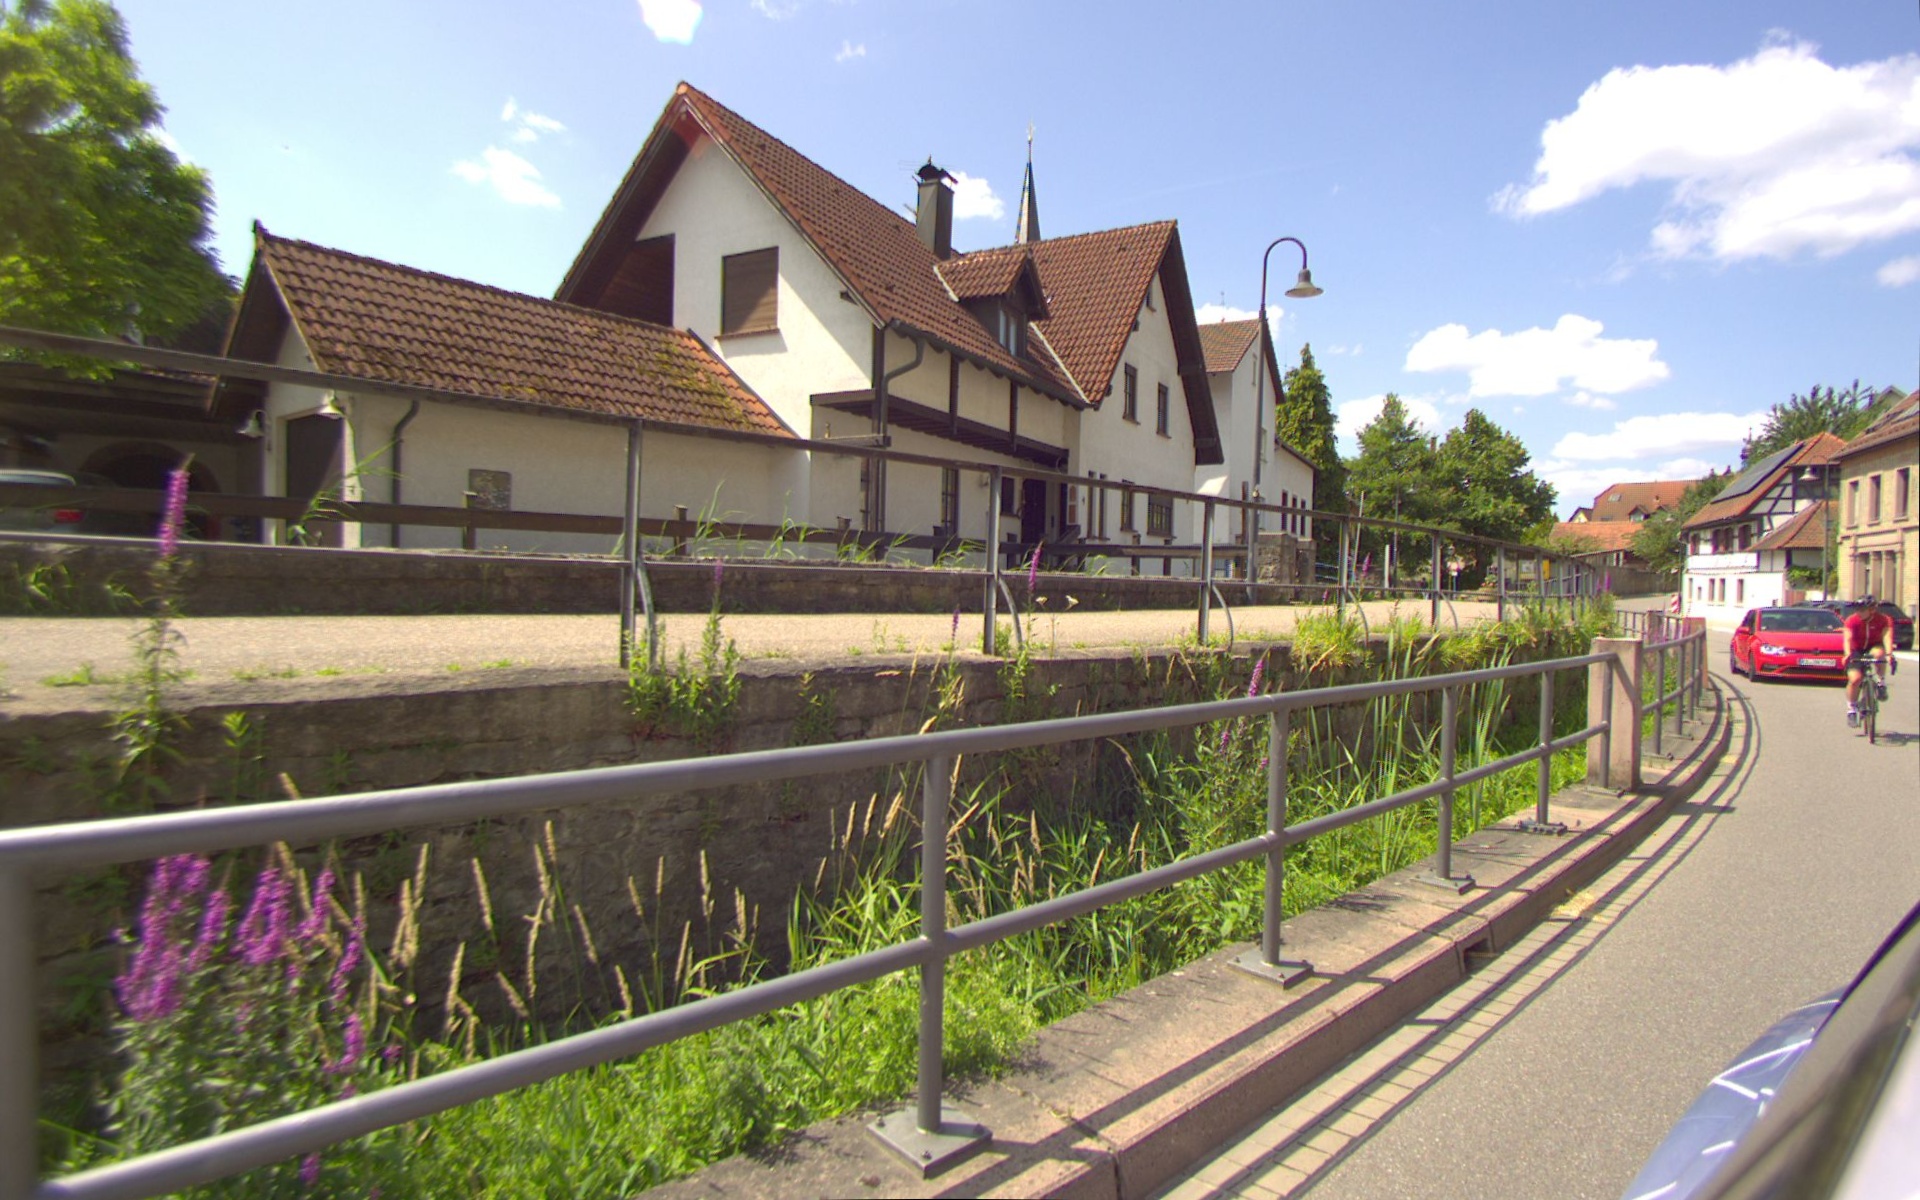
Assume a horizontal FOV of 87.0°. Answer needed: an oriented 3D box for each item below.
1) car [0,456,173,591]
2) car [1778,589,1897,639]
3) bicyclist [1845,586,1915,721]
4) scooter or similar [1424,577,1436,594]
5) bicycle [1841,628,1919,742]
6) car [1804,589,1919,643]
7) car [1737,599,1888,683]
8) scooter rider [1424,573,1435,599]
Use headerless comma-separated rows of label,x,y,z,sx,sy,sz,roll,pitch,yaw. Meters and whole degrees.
car,-11.797,-0.916,13.133,1.721,1.545,3.522,1,1,-25
car,29.677,0.428,34.402,1.943,1.484,4.505,1,2,26
bicyclist,10.157,0.566,11.175,0.743,1.422,0.531,0,0,-44
scooter or similar,31.875,-0.990,68.658,0.637,1.156,1.794,2,2,28
bicycle,10.132,0.881,11.121,2.020,1.090,0.530,0,0,-45
car,27.153,0.456,30.370,1.874,1.483,4.621,-2,-1,29
car,15.911,0.688,19.059,1.658,1.369,3.455,1,1,32
scooter rider,31.837,-0.944,68.581,0.637,1.753,0.549,0,1,29
